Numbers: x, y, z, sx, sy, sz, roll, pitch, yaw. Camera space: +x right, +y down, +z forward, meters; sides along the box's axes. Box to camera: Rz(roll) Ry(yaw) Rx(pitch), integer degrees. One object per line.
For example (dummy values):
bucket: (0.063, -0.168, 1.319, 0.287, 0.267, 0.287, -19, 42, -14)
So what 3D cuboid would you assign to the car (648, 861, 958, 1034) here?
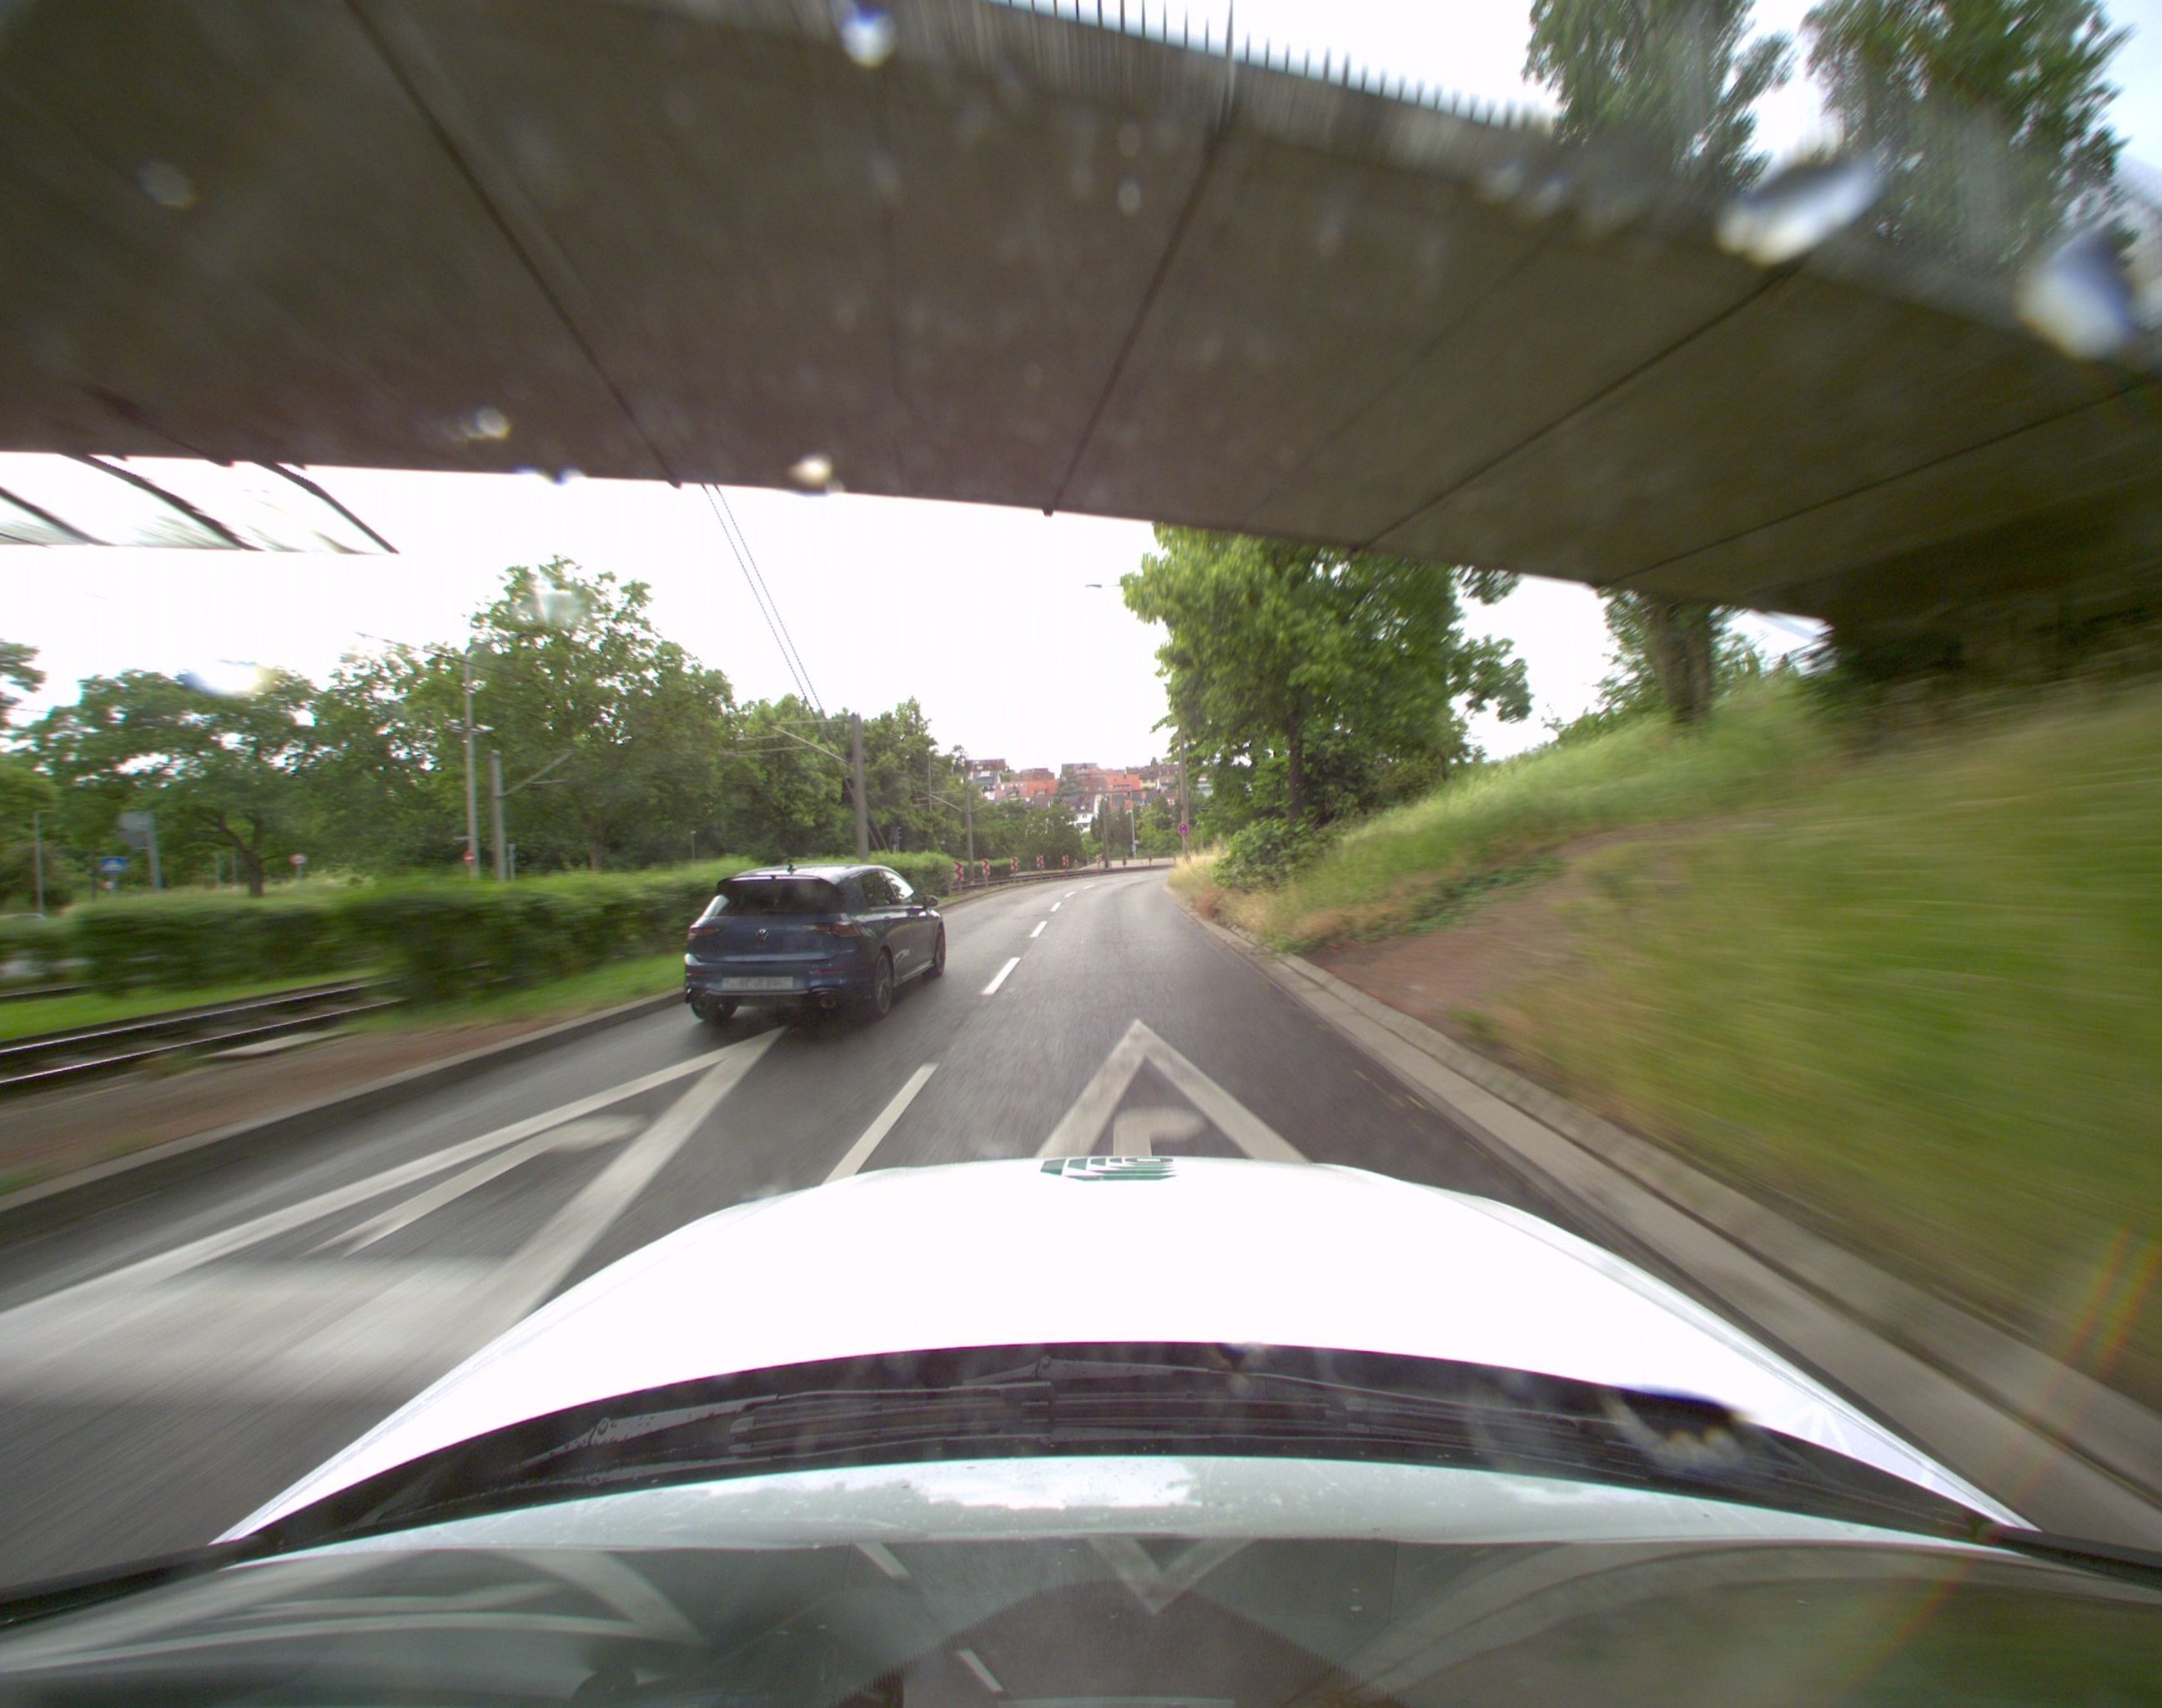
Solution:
car: (-2.668, 0.801, 9.023, 1.801, 1.378, 4.348, -1, 0, 1)
